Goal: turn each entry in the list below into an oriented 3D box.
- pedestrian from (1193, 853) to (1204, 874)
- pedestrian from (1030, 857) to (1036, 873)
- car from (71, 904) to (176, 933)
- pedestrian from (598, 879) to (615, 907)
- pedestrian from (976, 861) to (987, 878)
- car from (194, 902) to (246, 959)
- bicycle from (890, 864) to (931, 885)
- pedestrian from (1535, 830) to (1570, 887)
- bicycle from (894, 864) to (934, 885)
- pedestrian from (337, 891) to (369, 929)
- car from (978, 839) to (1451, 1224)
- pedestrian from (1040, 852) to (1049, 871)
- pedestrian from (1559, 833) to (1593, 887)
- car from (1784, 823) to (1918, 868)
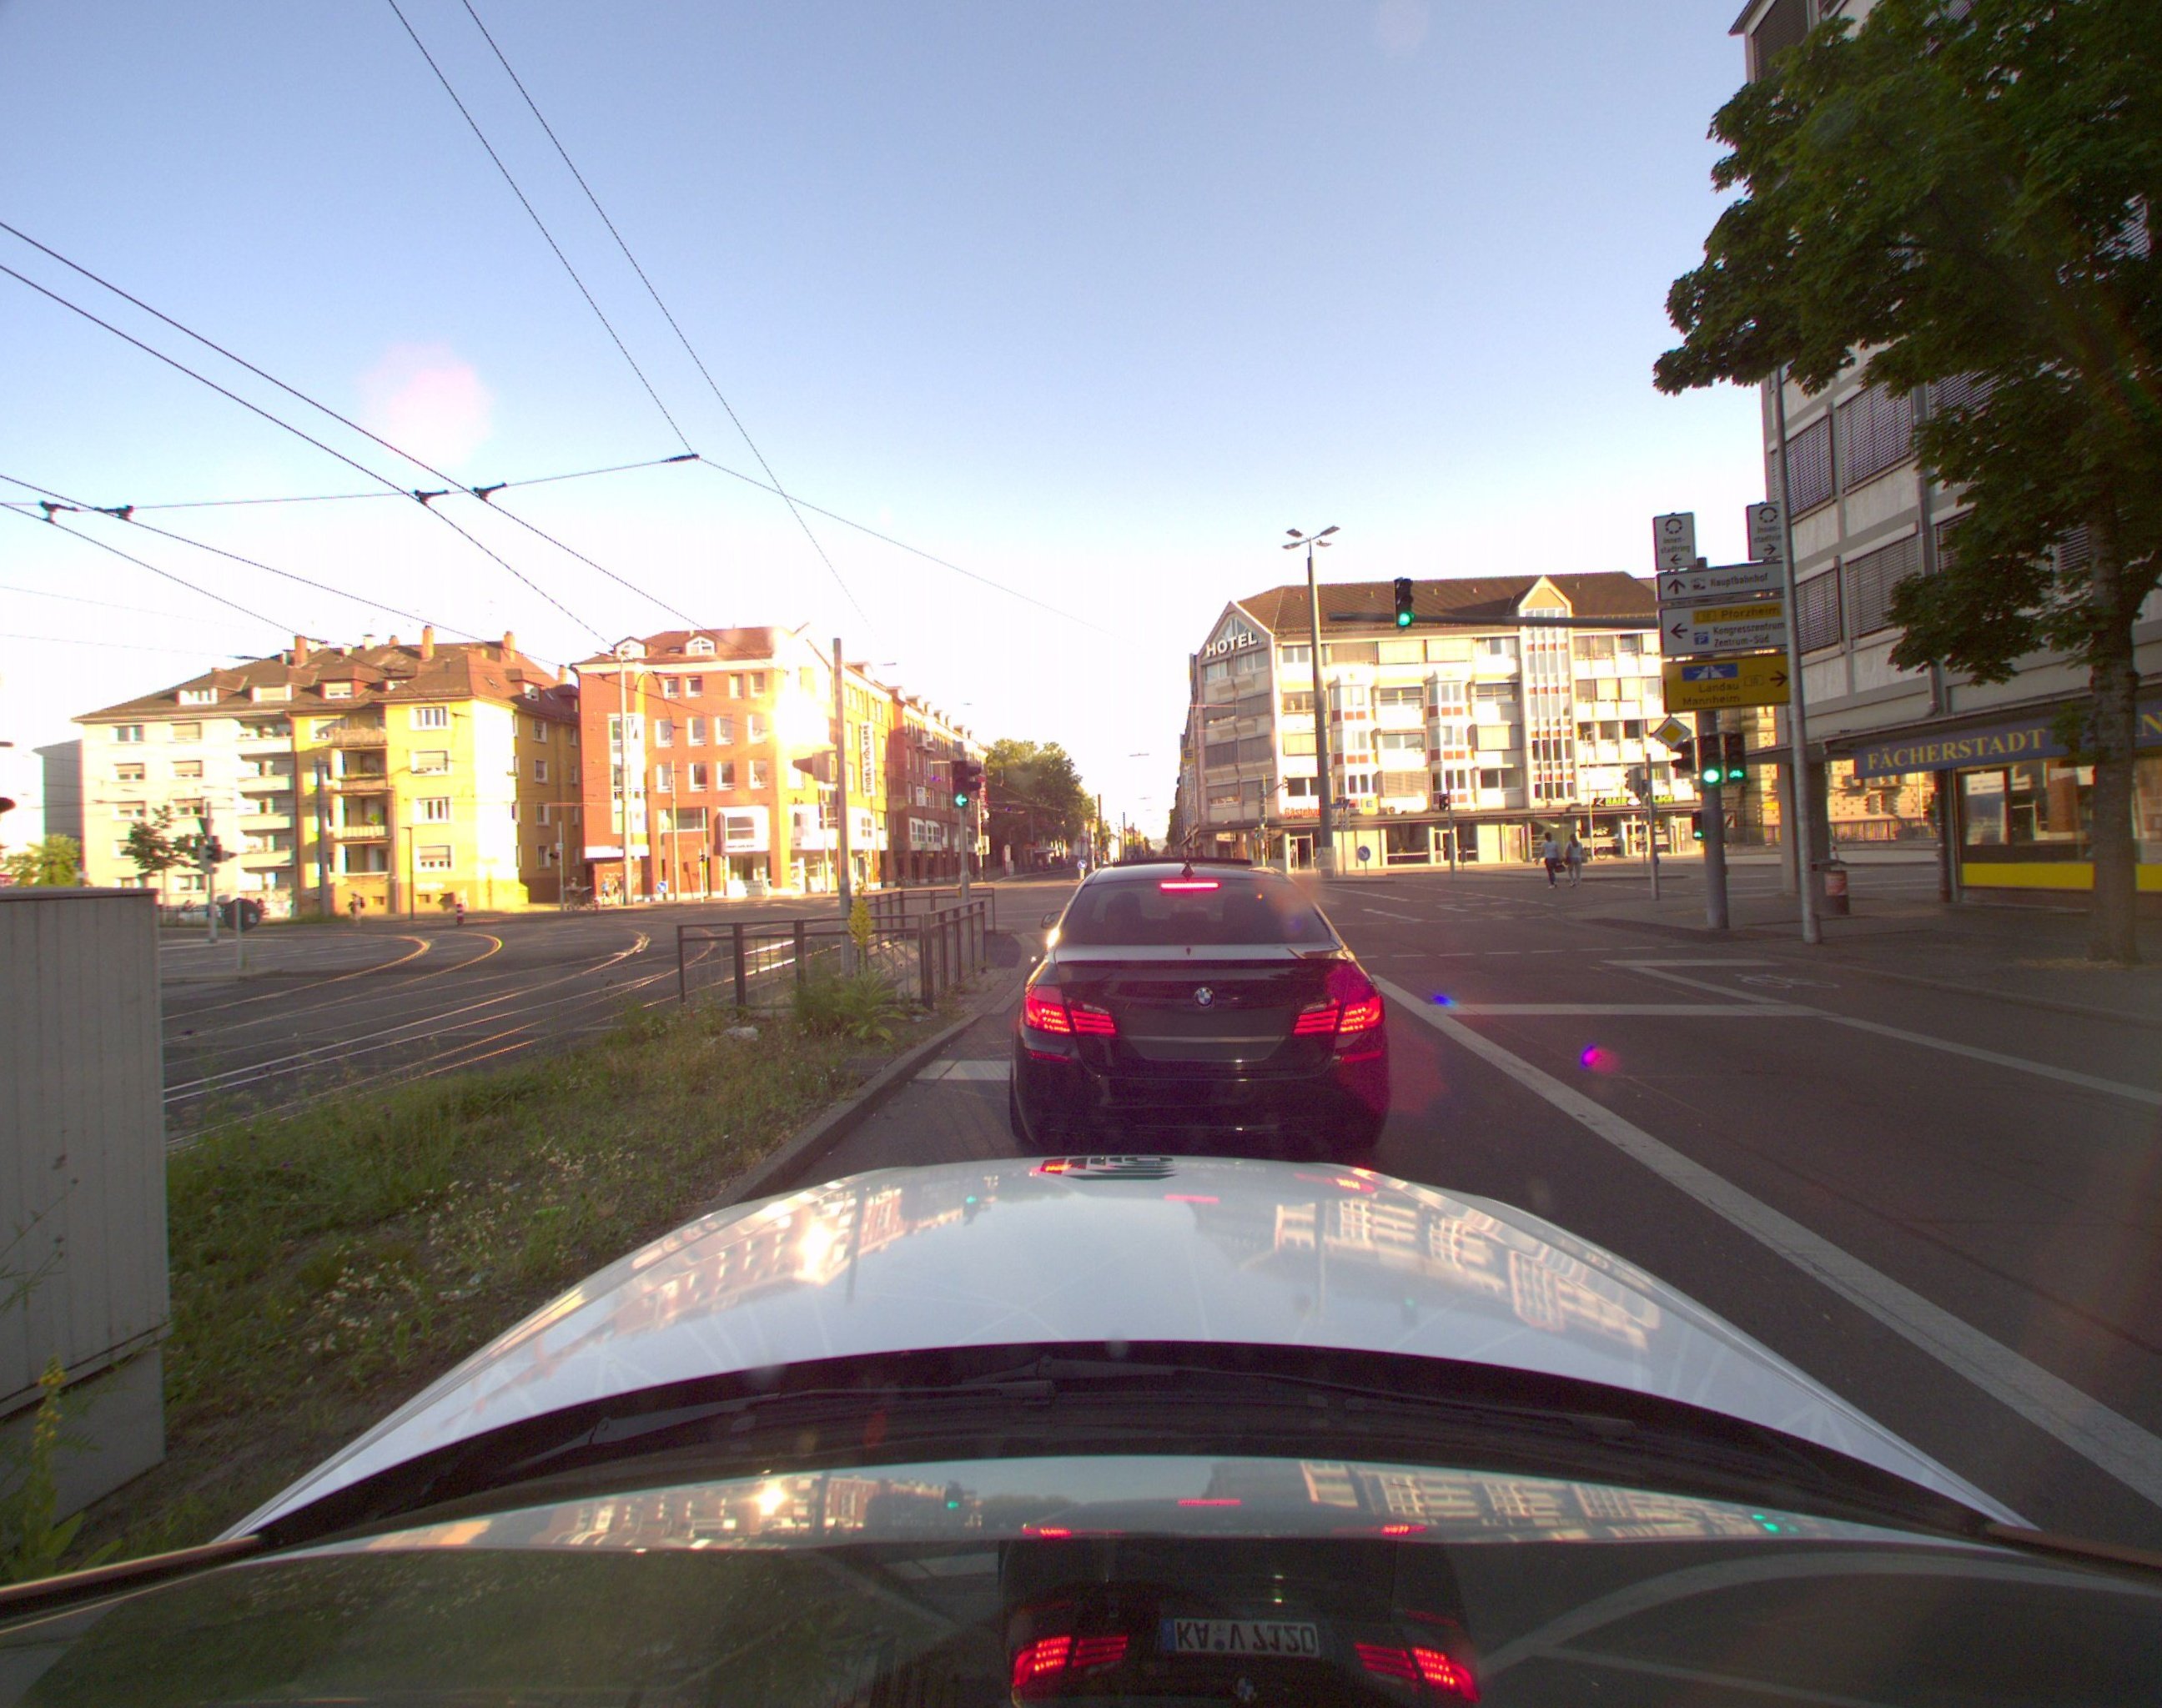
[{"bbox_3d":[8.968,0.694,61.926,0.703,1.548,0.907,-1,3,2],"label":"pedestrian"},{"bbox_3d":[-5.287,1.195,89.850,0.582,1.657,0.678,-3,0,2],"label":"pedestrian"},{"bbox_3d":[-63.760,4.285,54.286,4.321,1.705,2.118,-2,-4,0],"label":"car"},{"bbox_3d":[-31.670,2.602,54.339,0.636,1.778,0.813,-2,0,-6],"label":"pedestrian"},{"bbox_3d":[-12.479,1.919,102.145,1.081,2.013,1.085,-3,0,1],"label":"pedestrian"},{"bbox_3d":[-57.613,5.082,54.501,1.397,3.566,1.745,4,1,12],"label":"car"},{"bbox_3d":[-15.165,1.821,72.360,3.281,1.726,1.071,-3,0,5],"label":"bicycle"},{"bbox_3d":[14.153,0.128,24.444,0.718,1.649,0.776,-3,-1,41],"label":"pedestrian"},{"bbox_3d":[-15.042,1.850,73.525,3.282,1.726,1.070,-3,0,4],"label":"bicycle"},{"bbox_3d":[-30.294,2.325,33.882,0.629,1.541,0.711,-3,0,18],"label":"pedestrian"},{"bbox_3d":[0.586,0.703,5.330,1.834,1.495,4.294,0,0,2],"label":"car"},{"bbox_3d":[-4.040,0.850,89.424,0.805,2.013,0.678,-3,0,2],"label":"pedestrian"},{"bbox_3d":[15.050,0.169,24.751,0.696,1.582,0.831,-3,-1,41],"label":"pedestrian"},{"bbox_3d":[40.386,-0.444,42.816,4.571,1.555,2.228,9,-2,9],"label":"car"}]
